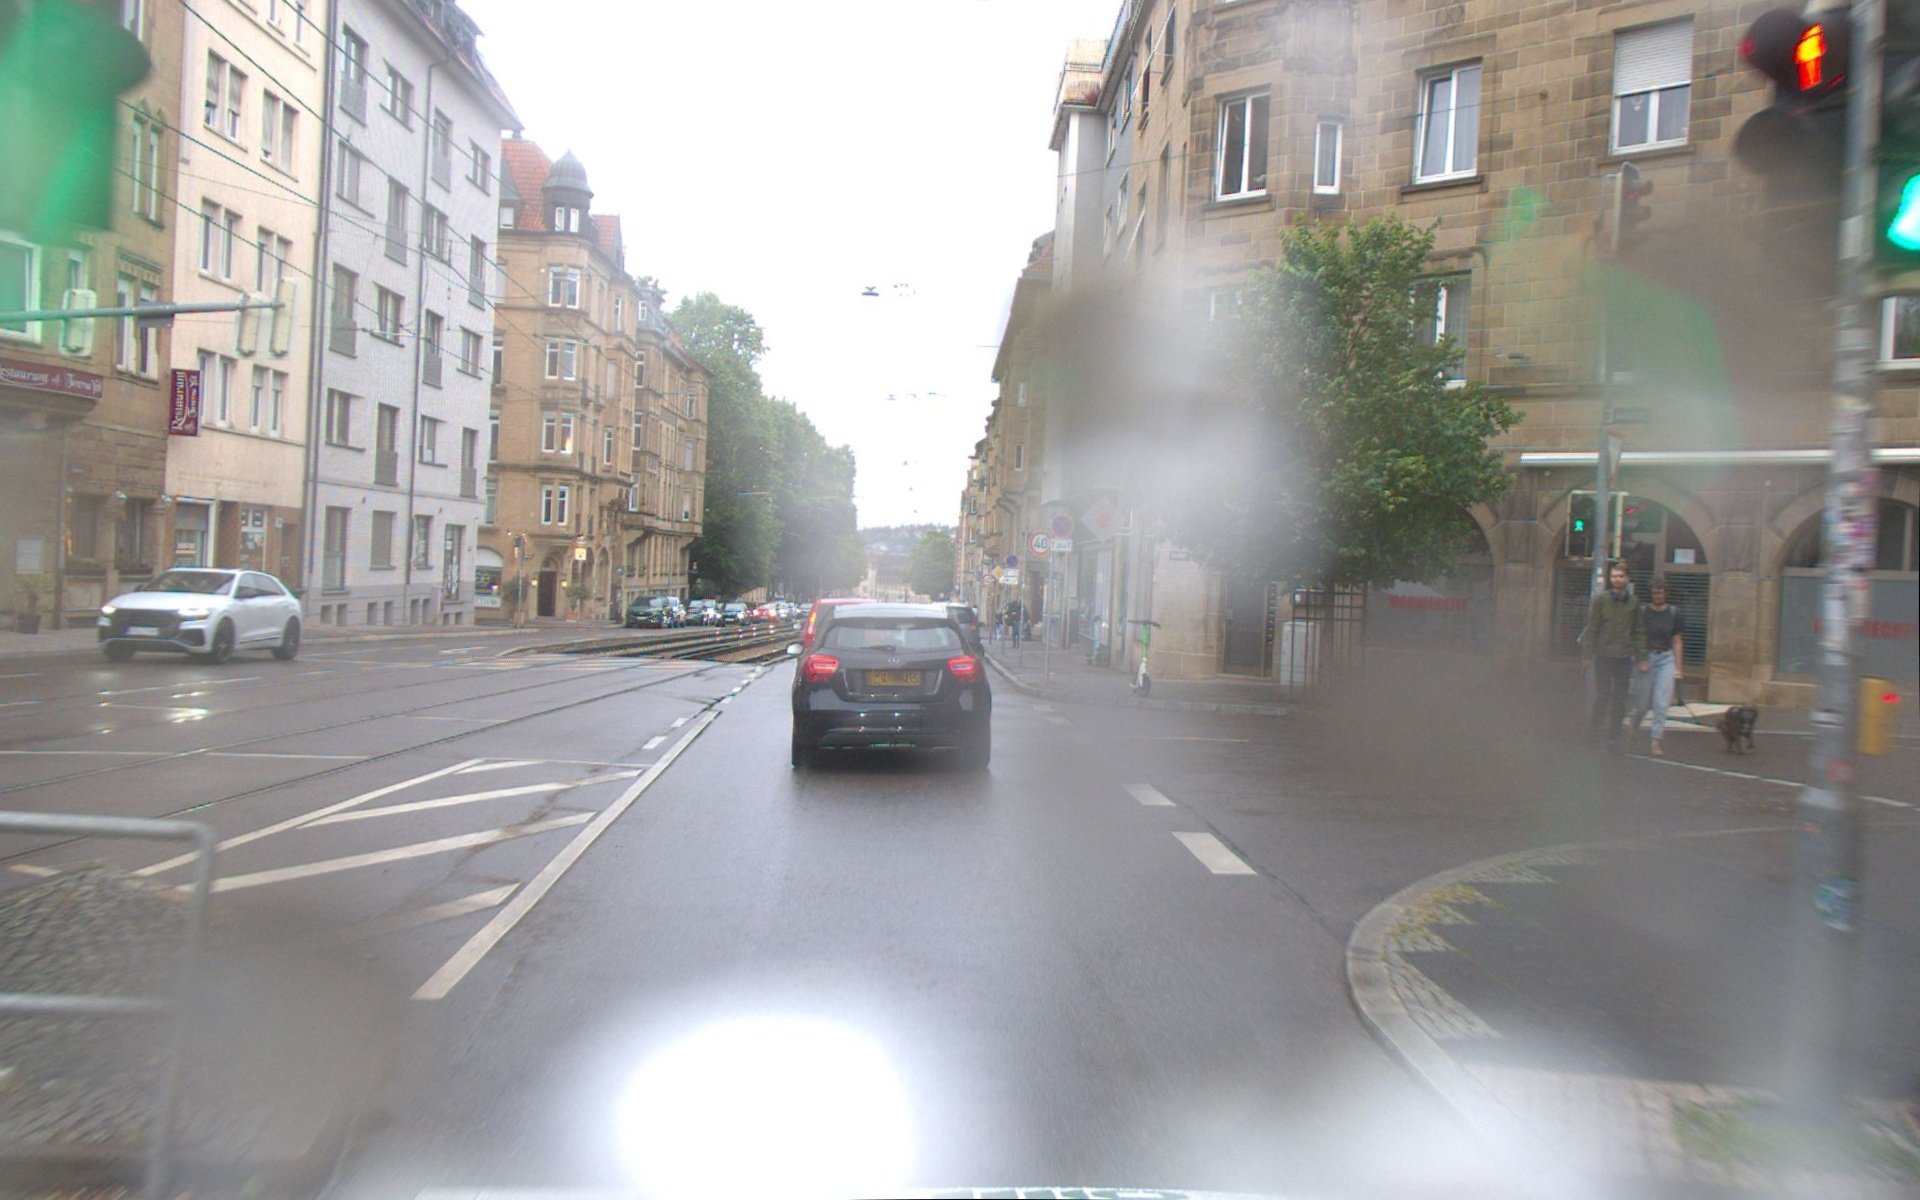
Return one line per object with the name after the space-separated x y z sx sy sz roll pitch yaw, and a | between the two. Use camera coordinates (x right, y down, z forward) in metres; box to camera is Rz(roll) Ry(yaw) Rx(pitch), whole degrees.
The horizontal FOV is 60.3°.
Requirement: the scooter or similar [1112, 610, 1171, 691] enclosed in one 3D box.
2.868 0.787 26.290 0.625 1.231 1.551 1 0 -5 | scooter or similar

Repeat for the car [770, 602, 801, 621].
-13.098 0.847 124.542 1.769 1.384 4.763 1 0 0 | car

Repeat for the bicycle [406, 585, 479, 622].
-24.403 0.165 78.051 3.091 1.612 1.593 1 2 -13 | bicycle

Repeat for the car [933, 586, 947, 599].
-2.437 -0.890 198.082 1.581 1.340 3.999 3 -1 -1 | car

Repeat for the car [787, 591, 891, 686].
-2.065 0.620 28.657 1.617 1.477 3.997 2 0 -3 | car

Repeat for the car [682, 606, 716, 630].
-16.303 1.104 103.510 1.537 1.438 3.481 1 0 1 | car

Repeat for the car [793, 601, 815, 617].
-14.383 0.803 152.364 1.660 1.413 3.481 1 0 1 | car

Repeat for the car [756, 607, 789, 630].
-12.862 1.270 113.540 1.645 1.523 3.520 1 0 3 | car

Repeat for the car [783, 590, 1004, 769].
-0.589 0.669 15.737 1.828 1.477 3.999 0 0 -1 | car

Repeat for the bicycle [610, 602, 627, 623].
-17.600 0.644 85.258 0.586 1.018 2.077 1 0 -5 | bicycle

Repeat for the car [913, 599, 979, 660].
-0.413 0.806 46.437 1.729 1.586 4.744 1 0 -1 | car

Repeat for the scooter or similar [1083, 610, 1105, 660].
3.366 0.869 41.528 0.387 1.237 1.106 2 0 -3 | scooter or similar

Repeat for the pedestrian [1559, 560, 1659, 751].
6.355 0.529 16.226 0.582 1.820 0.890 0 -1 -4 | pedestrian

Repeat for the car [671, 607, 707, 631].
-16.218 1.124 99.208 1.537 1.339 3.481 1 0 1 | car

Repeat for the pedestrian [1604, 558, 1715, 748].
6.889 0.509 16.321 0.668 1.820 0.901 0 -1 -5 | pedestrian

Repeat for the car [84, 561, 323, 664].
-13.510 0.203 29.966 1.953 1.656 5.252 1 0 -1 | car

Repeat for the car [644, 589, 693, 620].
-15.728 0.250 89.554 1.769 1.625 4.526 1 0 1 | car

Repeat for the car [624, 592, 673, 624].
-15.830 0.411 84.125 1.687 1.568 3.934 1 0 1 | car

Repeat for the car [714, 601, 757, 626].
-13.000 0.755 96.048 1.908 1.421 4.273 0 0 -1 | car

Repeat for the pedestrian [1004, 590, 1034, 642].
2.080 0.553 57.941 0.926 1.800 1.014 2 0 -3 | pedestrian

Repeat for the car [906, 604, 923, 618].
-4.365 1.069 160.351 1.581 1.340 3.999 1 0 -1 | car

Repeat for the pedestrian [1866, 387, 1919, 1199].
2.508 0.479 3.480 0.881 1.872 0.968 -2 0 21 | pedestrian
